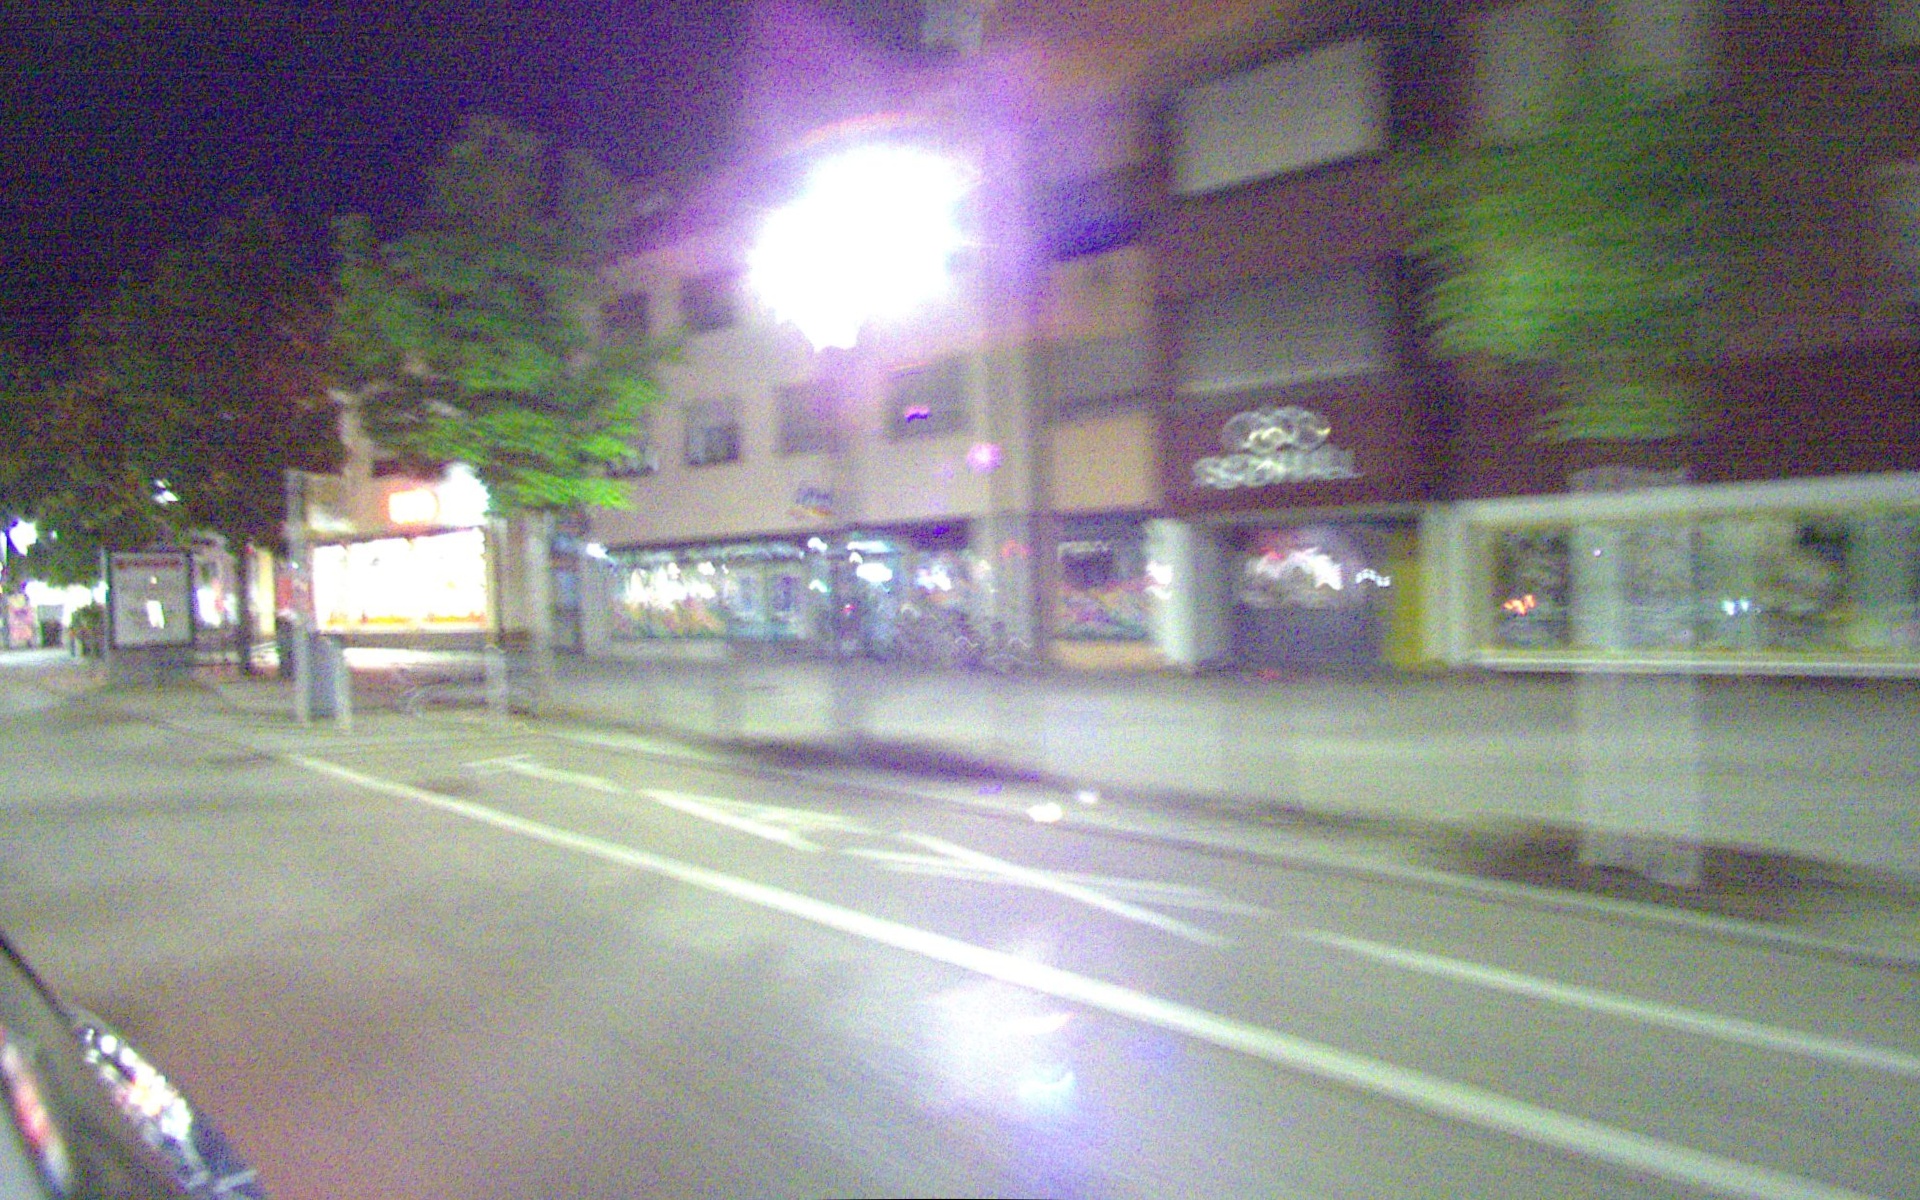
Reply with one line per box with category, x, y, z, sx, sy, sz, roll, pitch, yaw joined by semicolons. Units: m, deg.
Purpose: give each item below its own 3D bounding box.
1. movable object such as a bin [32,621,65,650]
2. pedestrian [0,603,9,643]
movable object such as a bin;-35.011;1.366;38.859;0.789;1.073;0.741;0;0;31
pedestrian;-45.192;1.086;47.363;0.781;1.831;1.026;-3;2;-36
